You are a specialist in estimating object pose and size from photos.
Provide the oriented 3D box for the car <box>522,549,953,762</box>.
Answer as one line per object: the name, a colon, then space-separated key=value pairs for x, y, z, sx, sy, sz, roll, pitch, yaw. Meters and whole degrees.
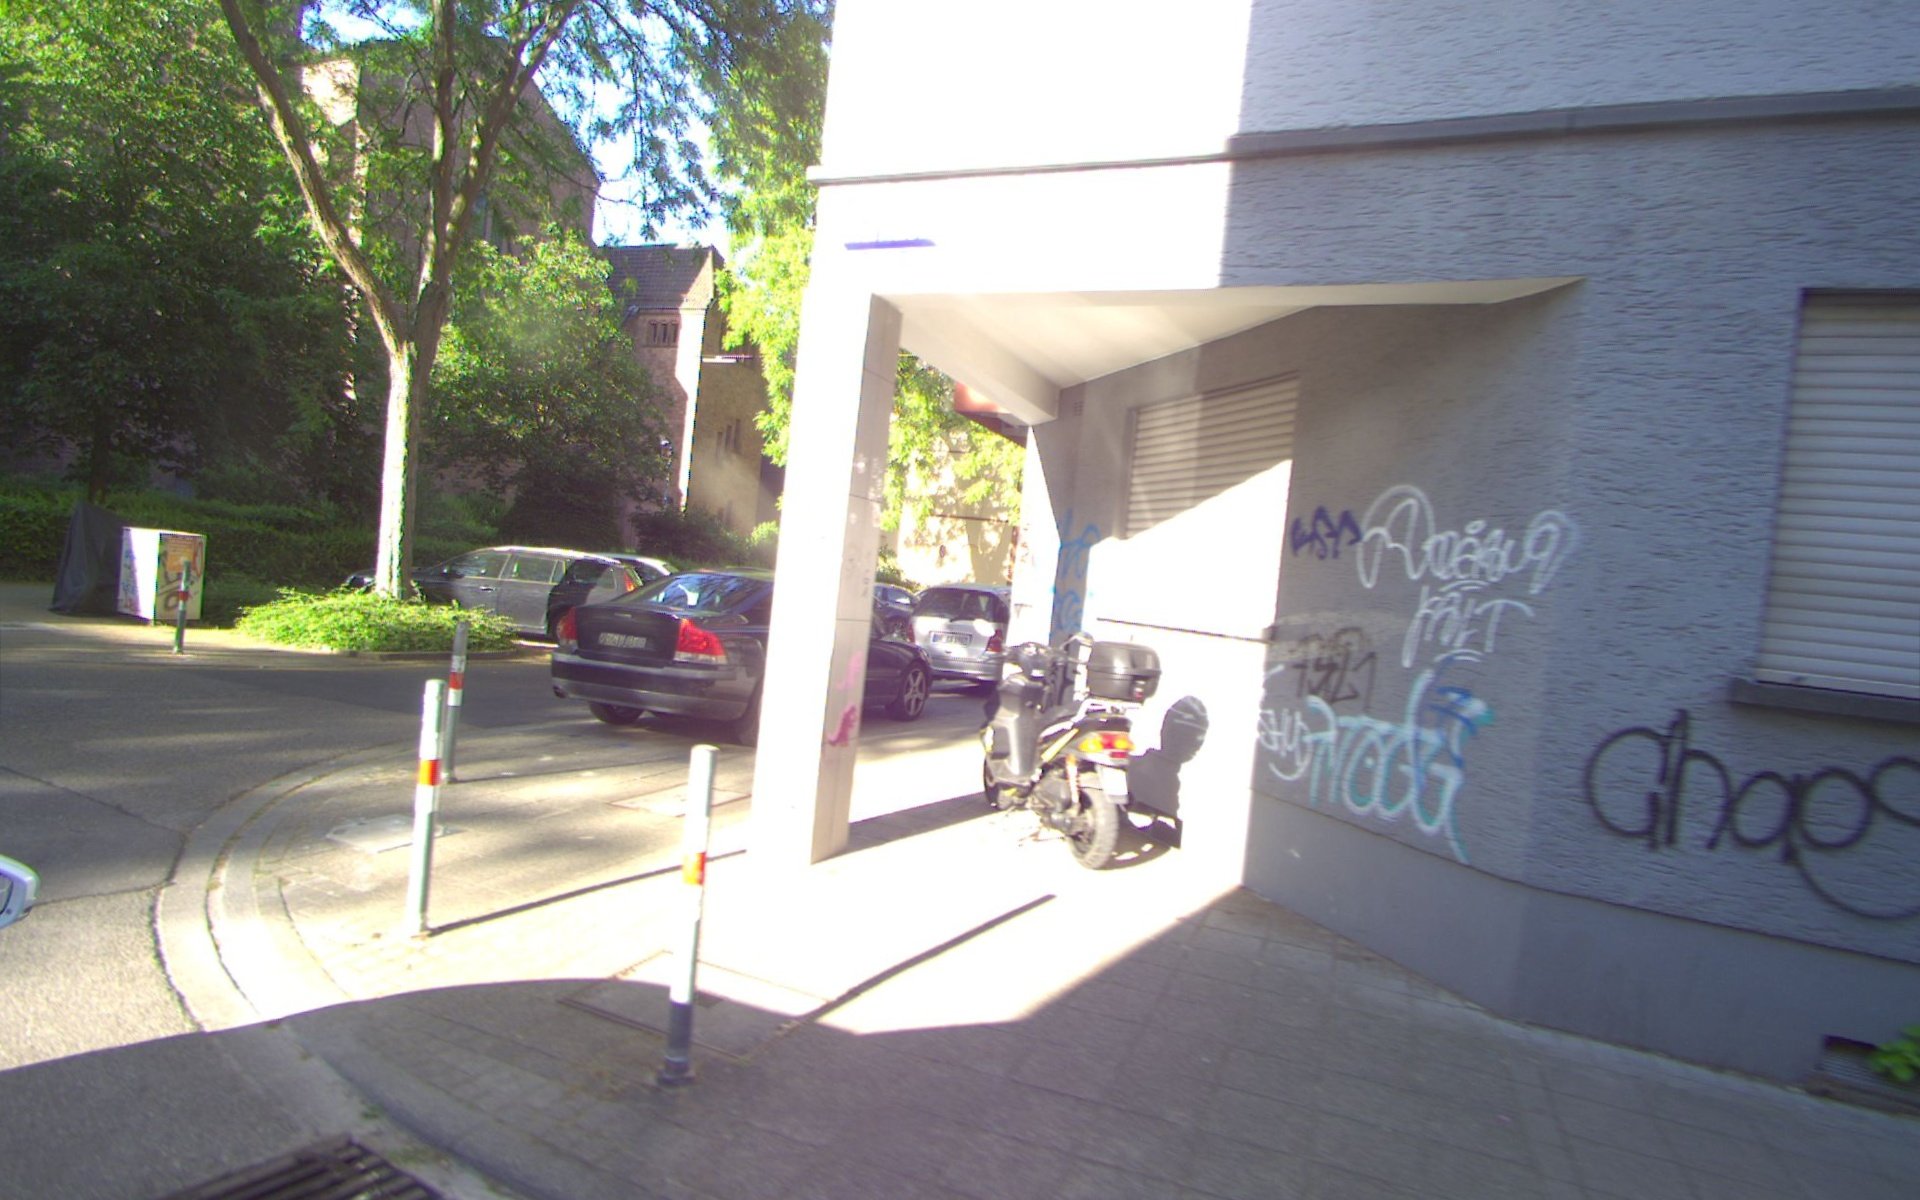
car: x=-1.778 y=0.454 z=9.647 sx=1.816 sy=1.406 sz=4.358 roll=6 pitch=1 yaw=22

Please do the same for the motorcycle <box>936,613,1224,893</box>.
motorcycle: x=0.567 y=0.753 z=5.838 sx=0.732 sy=1.243 sz=2.148 roll=3 pitch=1 yaw=-19

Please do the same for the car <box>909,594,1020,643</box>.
car: x=0.195 y=0.639 z=35.627 sx=3.698 sy=1.298 sz=1.585 roll=6 pitch=1 yaw=4

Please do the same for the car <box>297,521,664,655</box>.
car: x=-7.632 y=-0.178 z=16.511 sx=5.016 sy=1.572 sz=1.799 roll=6 pitch=1 yaw=-10

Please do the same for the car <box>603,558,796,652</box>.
car: x=-5.786 y=0.105 z=22.591 sx=3.698 sy=1.639 sz=1.721 roll=6 pitch=1 yaw=4

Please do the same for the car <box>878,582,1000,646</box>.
car: x=-0.649 y=0.452 z=33.156 sx=3.698 sy=1.639 sz=1.721 roll=6 pitch=1 yaw=4

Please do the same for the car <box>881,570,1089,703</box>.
car: x=0.532 y=0.531 z=15.323 sx=1.835 sy=1.638 sz=3.997 roll=4 pitch=0 yaw=21

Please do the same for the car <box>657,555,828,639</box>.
car: x=-5.359 y=-0.080 z=25.037 sx=3.698 sy=1.639 sz=1.721 roll=6 pitch=1 yaw=4

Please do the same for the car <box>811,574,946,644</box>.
car: x=-2.407 y=0.261 z=30.369 sx=3.698 sy=1.639 sz=1.721 roll=6 pitch=1 yaw=4

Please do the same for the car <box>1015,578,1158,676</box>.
car: x=2.659 y=0.544 z=20.274 sx=1.963 sy=1.683 sz=3.998 roll=3 pitch=-1 yaw=20

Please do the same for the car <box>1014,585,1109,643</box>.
car: x=4.367 y=0.599 z=43.695 sx=3.701 sy=2.064 sz=1.773 roll=6 pitch=1 yaw=-3

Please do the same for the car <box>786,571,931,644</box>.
car: x=-2.729 y=0.190 z=27.662 sx=3.700 sy=1.540 sz=1.720 roll=6 pitch=1 yaw=-1

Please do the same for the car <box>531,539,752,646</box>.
car: x=-6.244 y=-0.156 z=19.966 sx=3.698 sy=1.639 sz=1.721 roll=6 pitch=1 yaw=4

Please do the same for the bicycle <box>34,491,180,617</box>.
bicycle: x=-10.730 y=-0.592 z=12.747 sx=0.767 sy=1.389 sz=2.111 roll=5 pitch=2 yaw=-24
